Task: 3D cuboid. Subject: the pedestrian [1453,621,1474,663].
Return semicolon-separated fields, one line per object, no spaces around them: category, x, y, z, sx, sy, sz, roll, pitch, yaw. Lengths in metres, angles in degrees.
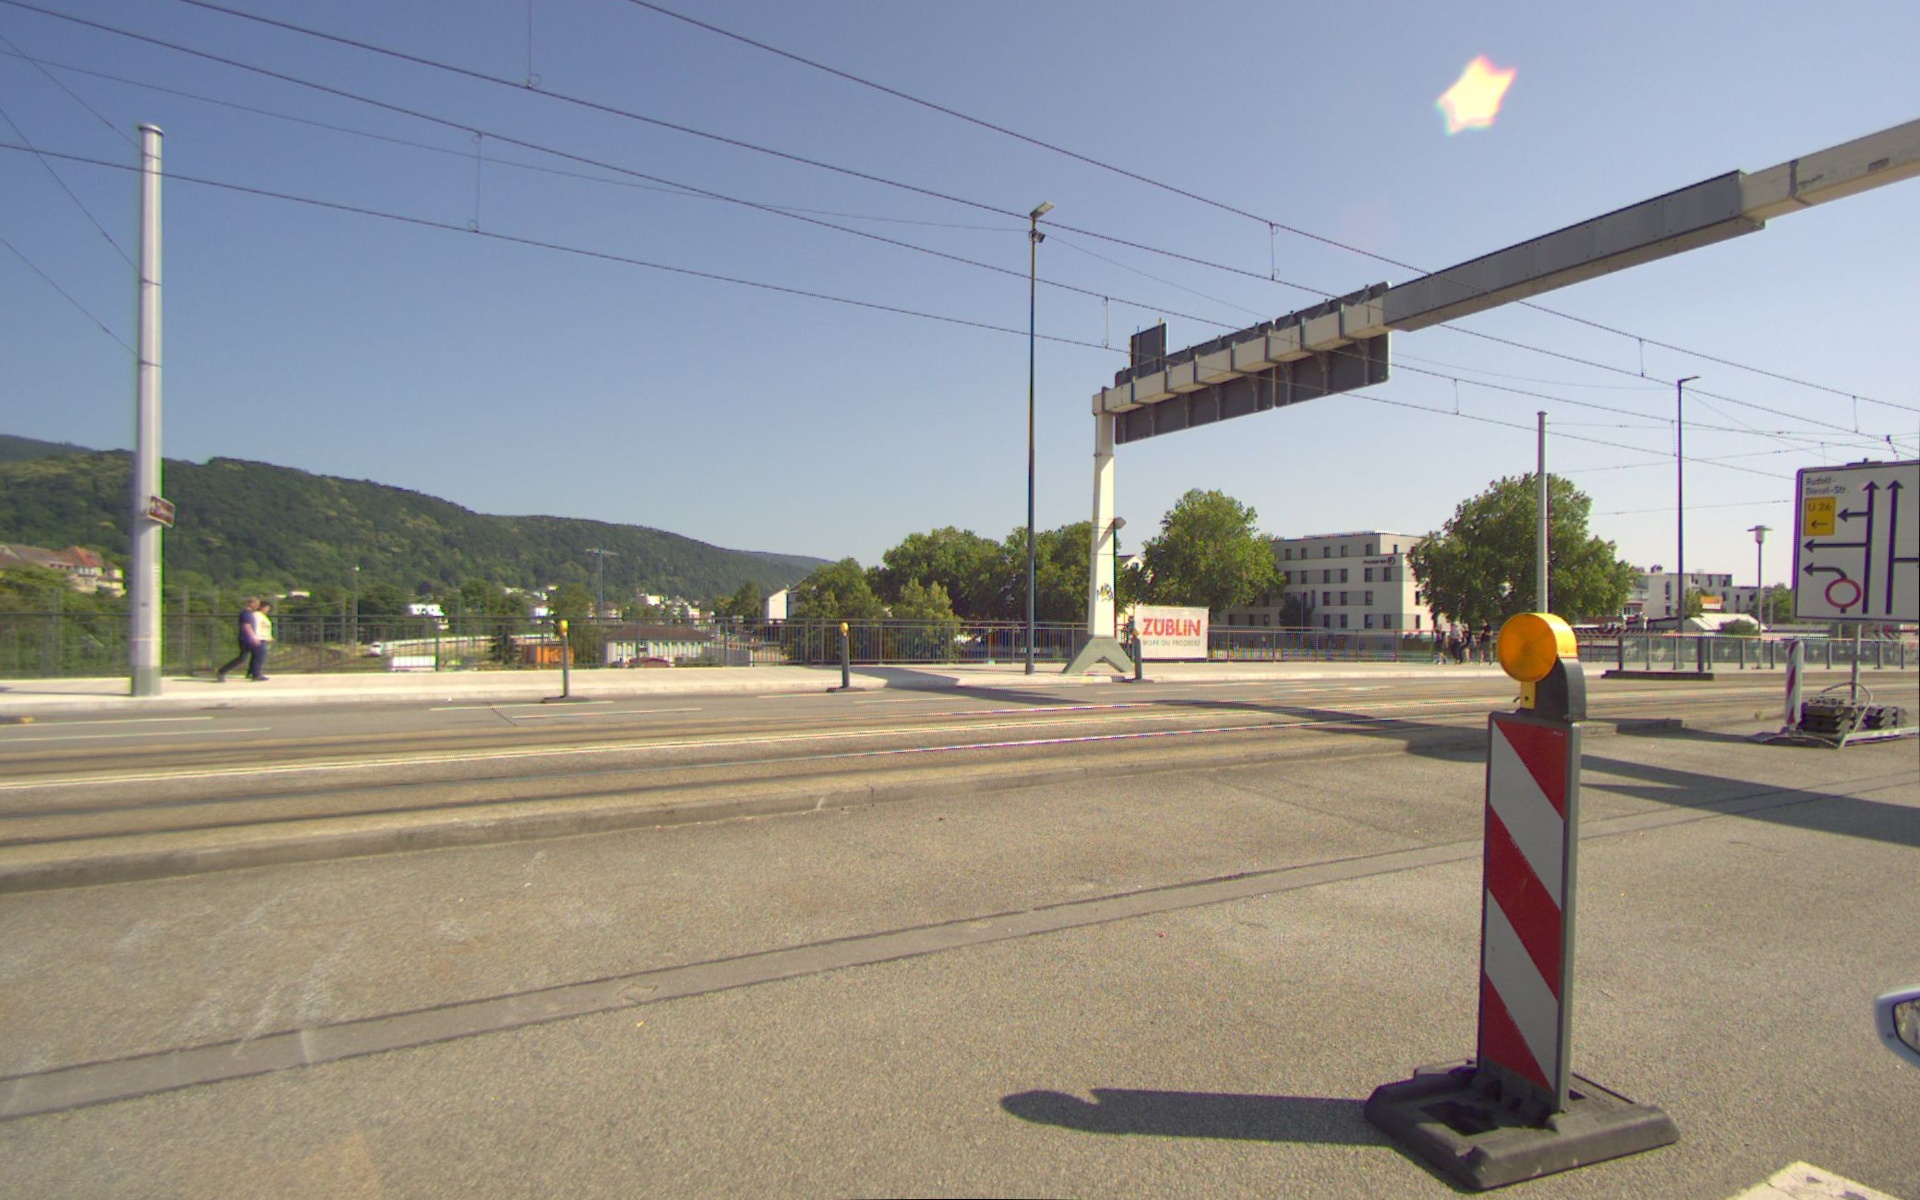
pedestrian;20.710;1.733;41.324;0.760;1.709;0.382;1;-1;-28

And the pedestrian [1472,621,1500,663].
pedestrian;21.463;1.700;40.963;0.722;1.709;0.750;1;-1;-27

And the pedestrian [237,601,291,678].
pedestrian;-14.753;0.829;21.306;0.879;1.565;0.716;1;2;-31

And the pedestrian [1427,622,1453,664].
pedestrian;19.597;1.746;41.039;0.807;1.709;0.595;1;-1;-28

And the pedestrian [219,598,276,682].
pedestrian;-14.526;0.798;20.496;0.884;1.664;0.740;1;2;-31

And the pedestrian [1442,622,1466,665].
pedestrian;19.947;1.749;40.572;0.797;1.709;0.484;1;-1;-28

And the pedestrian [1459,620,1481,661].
pedestrian;21.695;1.717;42.733;0.763;1.709;0.502;1;-1;-28
